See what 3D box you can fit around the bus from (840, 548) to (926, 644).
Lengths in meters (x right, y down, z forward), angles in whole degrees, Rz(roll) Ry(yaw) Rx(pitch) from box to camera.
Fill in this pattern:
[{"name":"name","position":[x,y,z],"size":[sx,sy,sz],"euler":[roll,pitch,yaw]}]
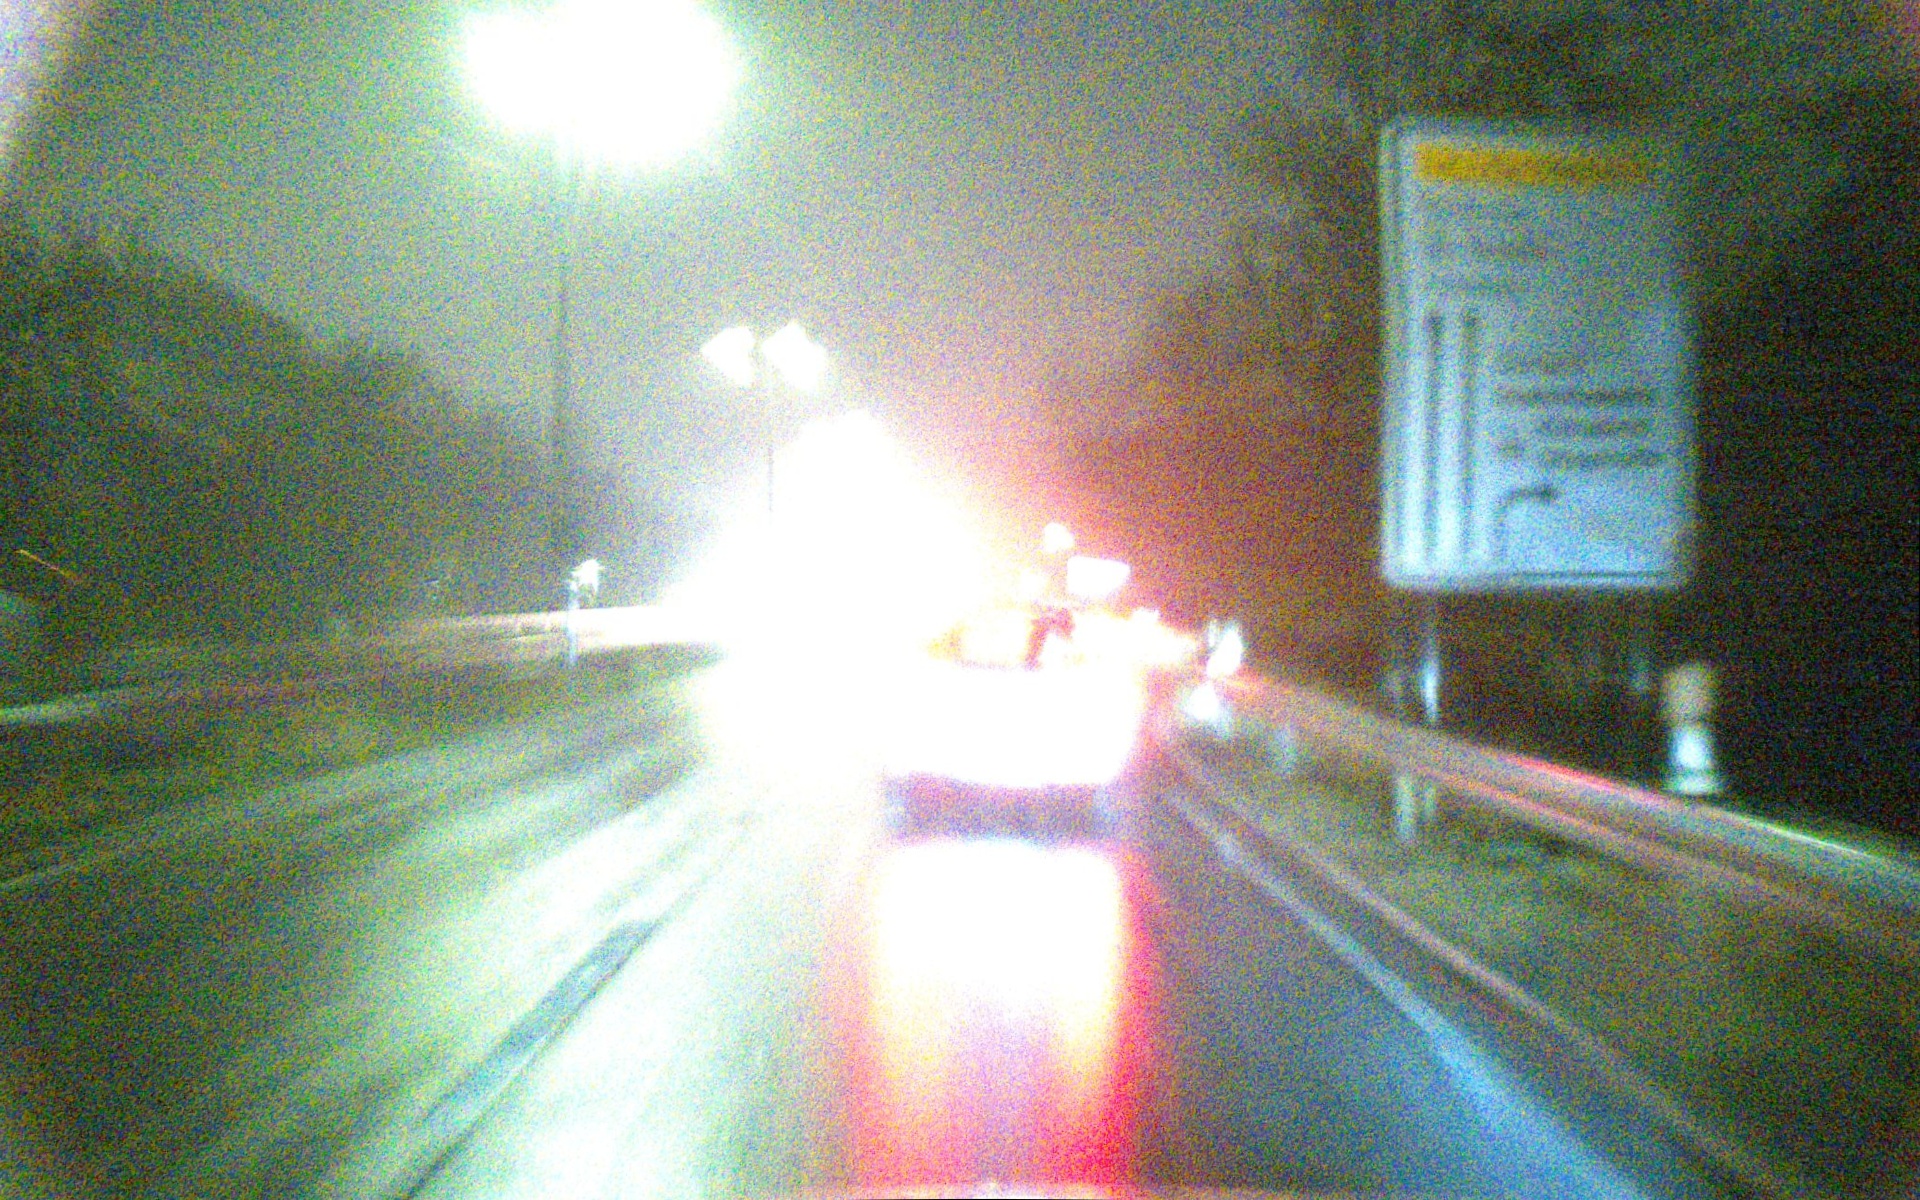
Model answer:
[{"name":"bus","position":[-2.718,-0.138,60.824],"size":[2.688,3.178,9.200],"euler":[2,0,0]}]

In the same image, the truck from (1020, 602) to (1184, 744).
[{"name":"truck","position":[2.992,1.474,34.917],"size":[3.005,2.573,7.169],"euler":[2,-1,5]}]

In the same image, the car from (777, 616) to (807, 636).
[{"name":"car","position":[-14.110,2.185,139.231],"size":[1.982,1.528,4.895],"euler":[2,-1,0]}]

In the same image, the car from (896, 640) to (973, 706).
[{"name":"car","position":[-0.584,1.774,40.884],"size":[1.784,1.487,3.716],"euler":[1,-1,0]}]

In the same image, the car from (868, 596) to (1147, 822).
[{"name":"car","position":[0.526,0.768,13.225],"size":[1.903,1.517,3.718],"euler":[1,-1,6]}]
